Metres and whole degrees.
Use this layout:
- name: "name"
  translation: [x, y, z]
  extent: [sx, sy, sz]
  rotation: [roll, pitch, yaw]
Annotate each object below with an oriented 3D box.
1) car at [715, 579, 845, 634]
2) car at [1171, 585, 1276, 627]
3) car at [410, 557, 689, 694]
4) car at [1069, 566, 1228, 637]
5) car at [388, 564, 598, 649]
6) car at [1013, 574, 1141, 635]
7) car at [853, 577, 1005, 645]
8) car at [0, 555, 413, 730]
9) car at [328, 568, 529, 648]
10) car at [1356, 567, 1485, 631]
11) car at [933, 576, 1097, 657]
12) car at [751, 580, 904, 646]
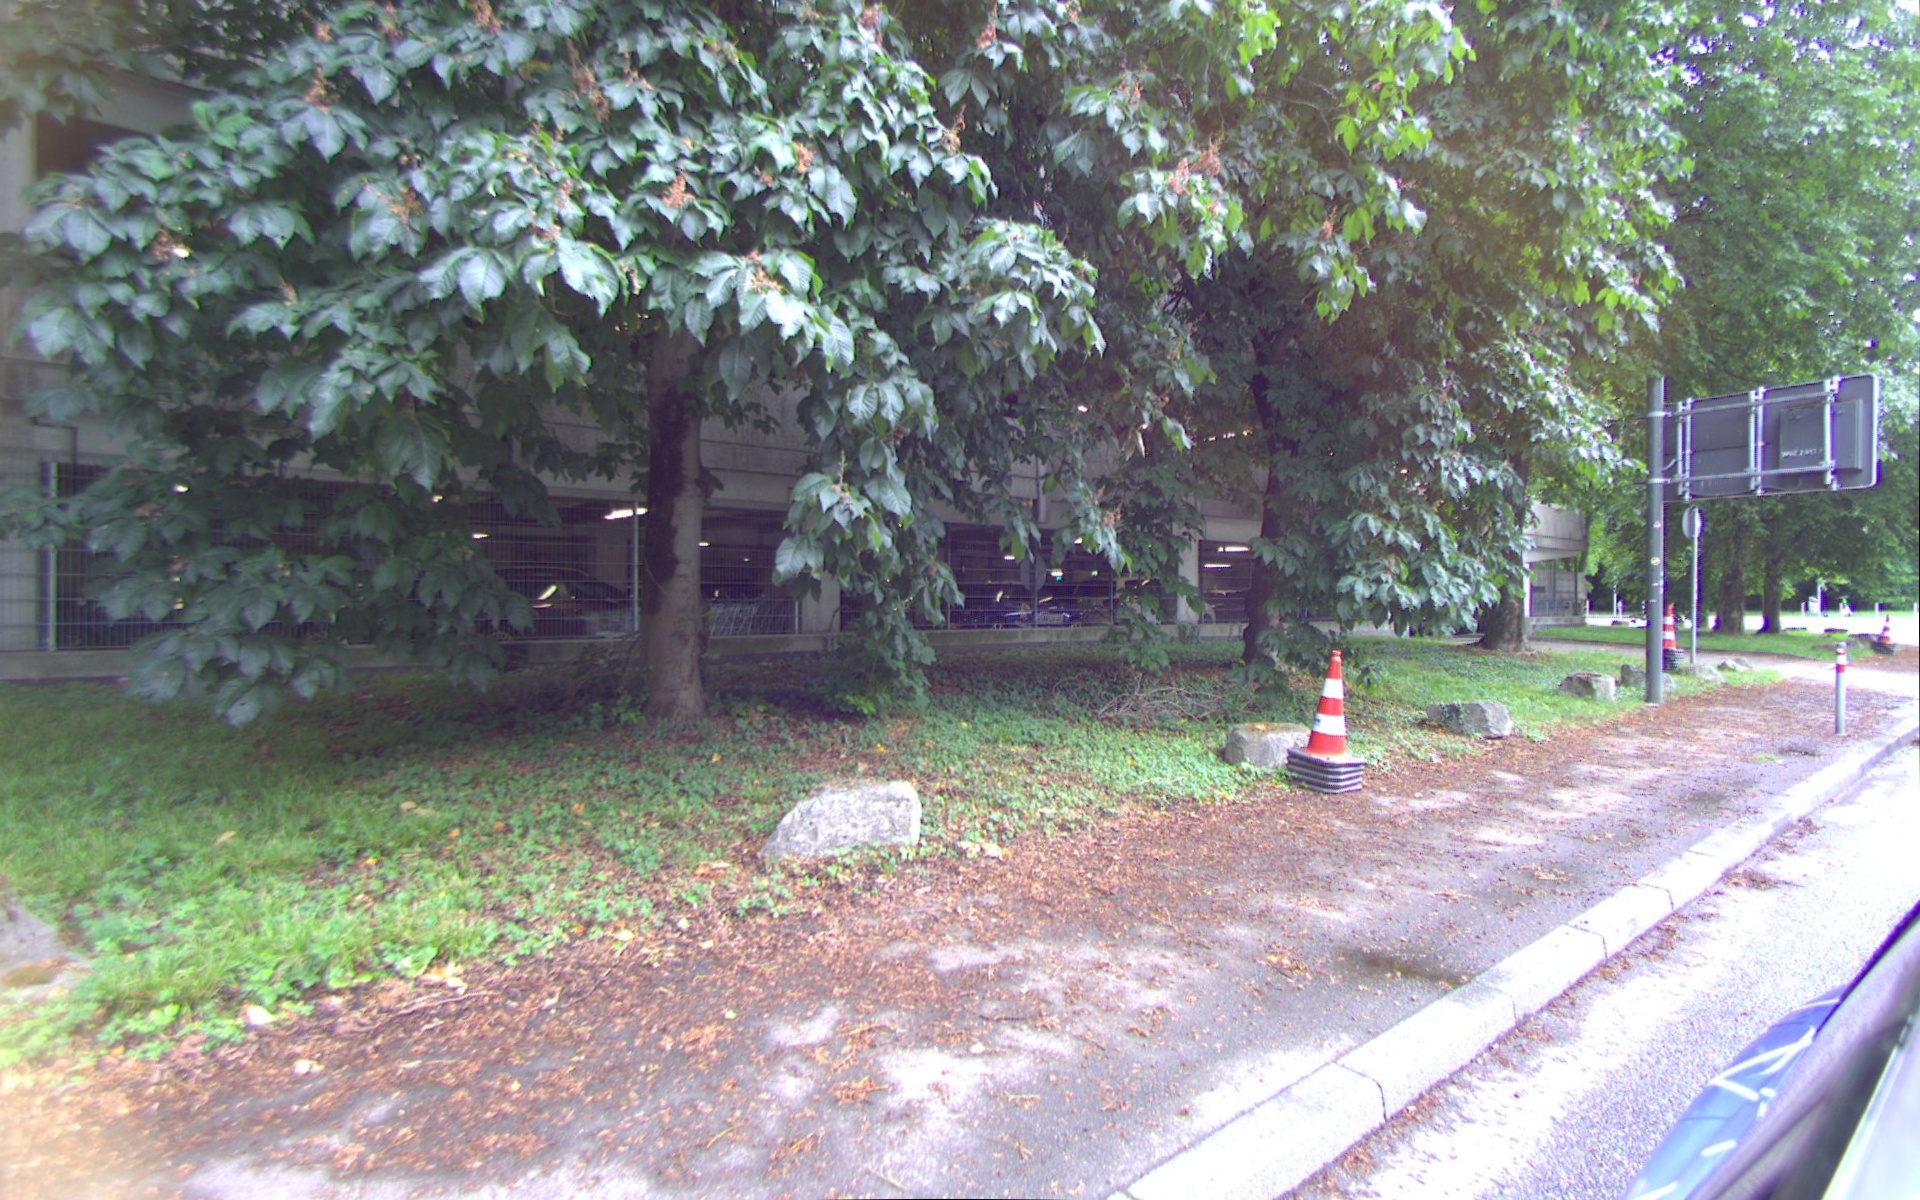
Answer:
- name: "car"
  translation: [-5.623, 0.180, 31.769]
  extent: [3.638, 1.565, 1.719]
  rotation: [-2, 0, -41]
- name: "car"
  translation: [10.059, 0.206, 38.562]
  extent: [3.927, 1.471, 1.876]
  rotation: [-2, 0, -38]
- name: "car"
  translation: [-6.857, 0.333, 17.079]
  extent: [3.929, 2.039, 1.997]
  rotation: [-2, 0, -40]
- name: "car"
  translation: [5.062, -0.010, 26.784]
  extent: [4.587, 1.730, 1.588]
  rotation: [-2, 0, -41]
- name: "car"
  translation: [-9.756, 0.082, 21.272]
  extent: [3.639, 1.627, 1.718]
  rotation: [-2, 0, -42]
- name: "car"
  translation: [3.433, 0.101, 29.375]
  extent: [3.629, 1.606, 1.718]
  rotation: [-2, 0, -42]
- name: "car"
  translation: [-0.744, 0.233, 25.794]
  extent: [3.639, 1.565, 1.718]
  rotation: [-2, 0, -42]
- name: "car"
  translation: [-10.318, 0.452, 13.893]
  extent: [4.594, 2.039, 1.996]
  rotation: [-2, 0, -41]
- name: "car"
  translation: [-11.768, 0.136, 22.532]
  extent: [3.639, 1.627, 1.718]
  rotation: [-2, 0, -42]
- name: "car"
  translation: [14.484, -0.025, 31.725]
  extent: [4.653, 1.858, 1.922]
  rotation: [0, 0, -41]
- name: "car"
  translation: [1.349, 0.334, 23.749]
  extent: [3.790, 1.730, 1.588]
  rotation: [-2, 0, -41]
- name: "car"
  translation: [-3.432, 0.295, 26.538]
  extent: [3.639, 1.565, 1.718]
  rotation: [-2, 0, -42]
